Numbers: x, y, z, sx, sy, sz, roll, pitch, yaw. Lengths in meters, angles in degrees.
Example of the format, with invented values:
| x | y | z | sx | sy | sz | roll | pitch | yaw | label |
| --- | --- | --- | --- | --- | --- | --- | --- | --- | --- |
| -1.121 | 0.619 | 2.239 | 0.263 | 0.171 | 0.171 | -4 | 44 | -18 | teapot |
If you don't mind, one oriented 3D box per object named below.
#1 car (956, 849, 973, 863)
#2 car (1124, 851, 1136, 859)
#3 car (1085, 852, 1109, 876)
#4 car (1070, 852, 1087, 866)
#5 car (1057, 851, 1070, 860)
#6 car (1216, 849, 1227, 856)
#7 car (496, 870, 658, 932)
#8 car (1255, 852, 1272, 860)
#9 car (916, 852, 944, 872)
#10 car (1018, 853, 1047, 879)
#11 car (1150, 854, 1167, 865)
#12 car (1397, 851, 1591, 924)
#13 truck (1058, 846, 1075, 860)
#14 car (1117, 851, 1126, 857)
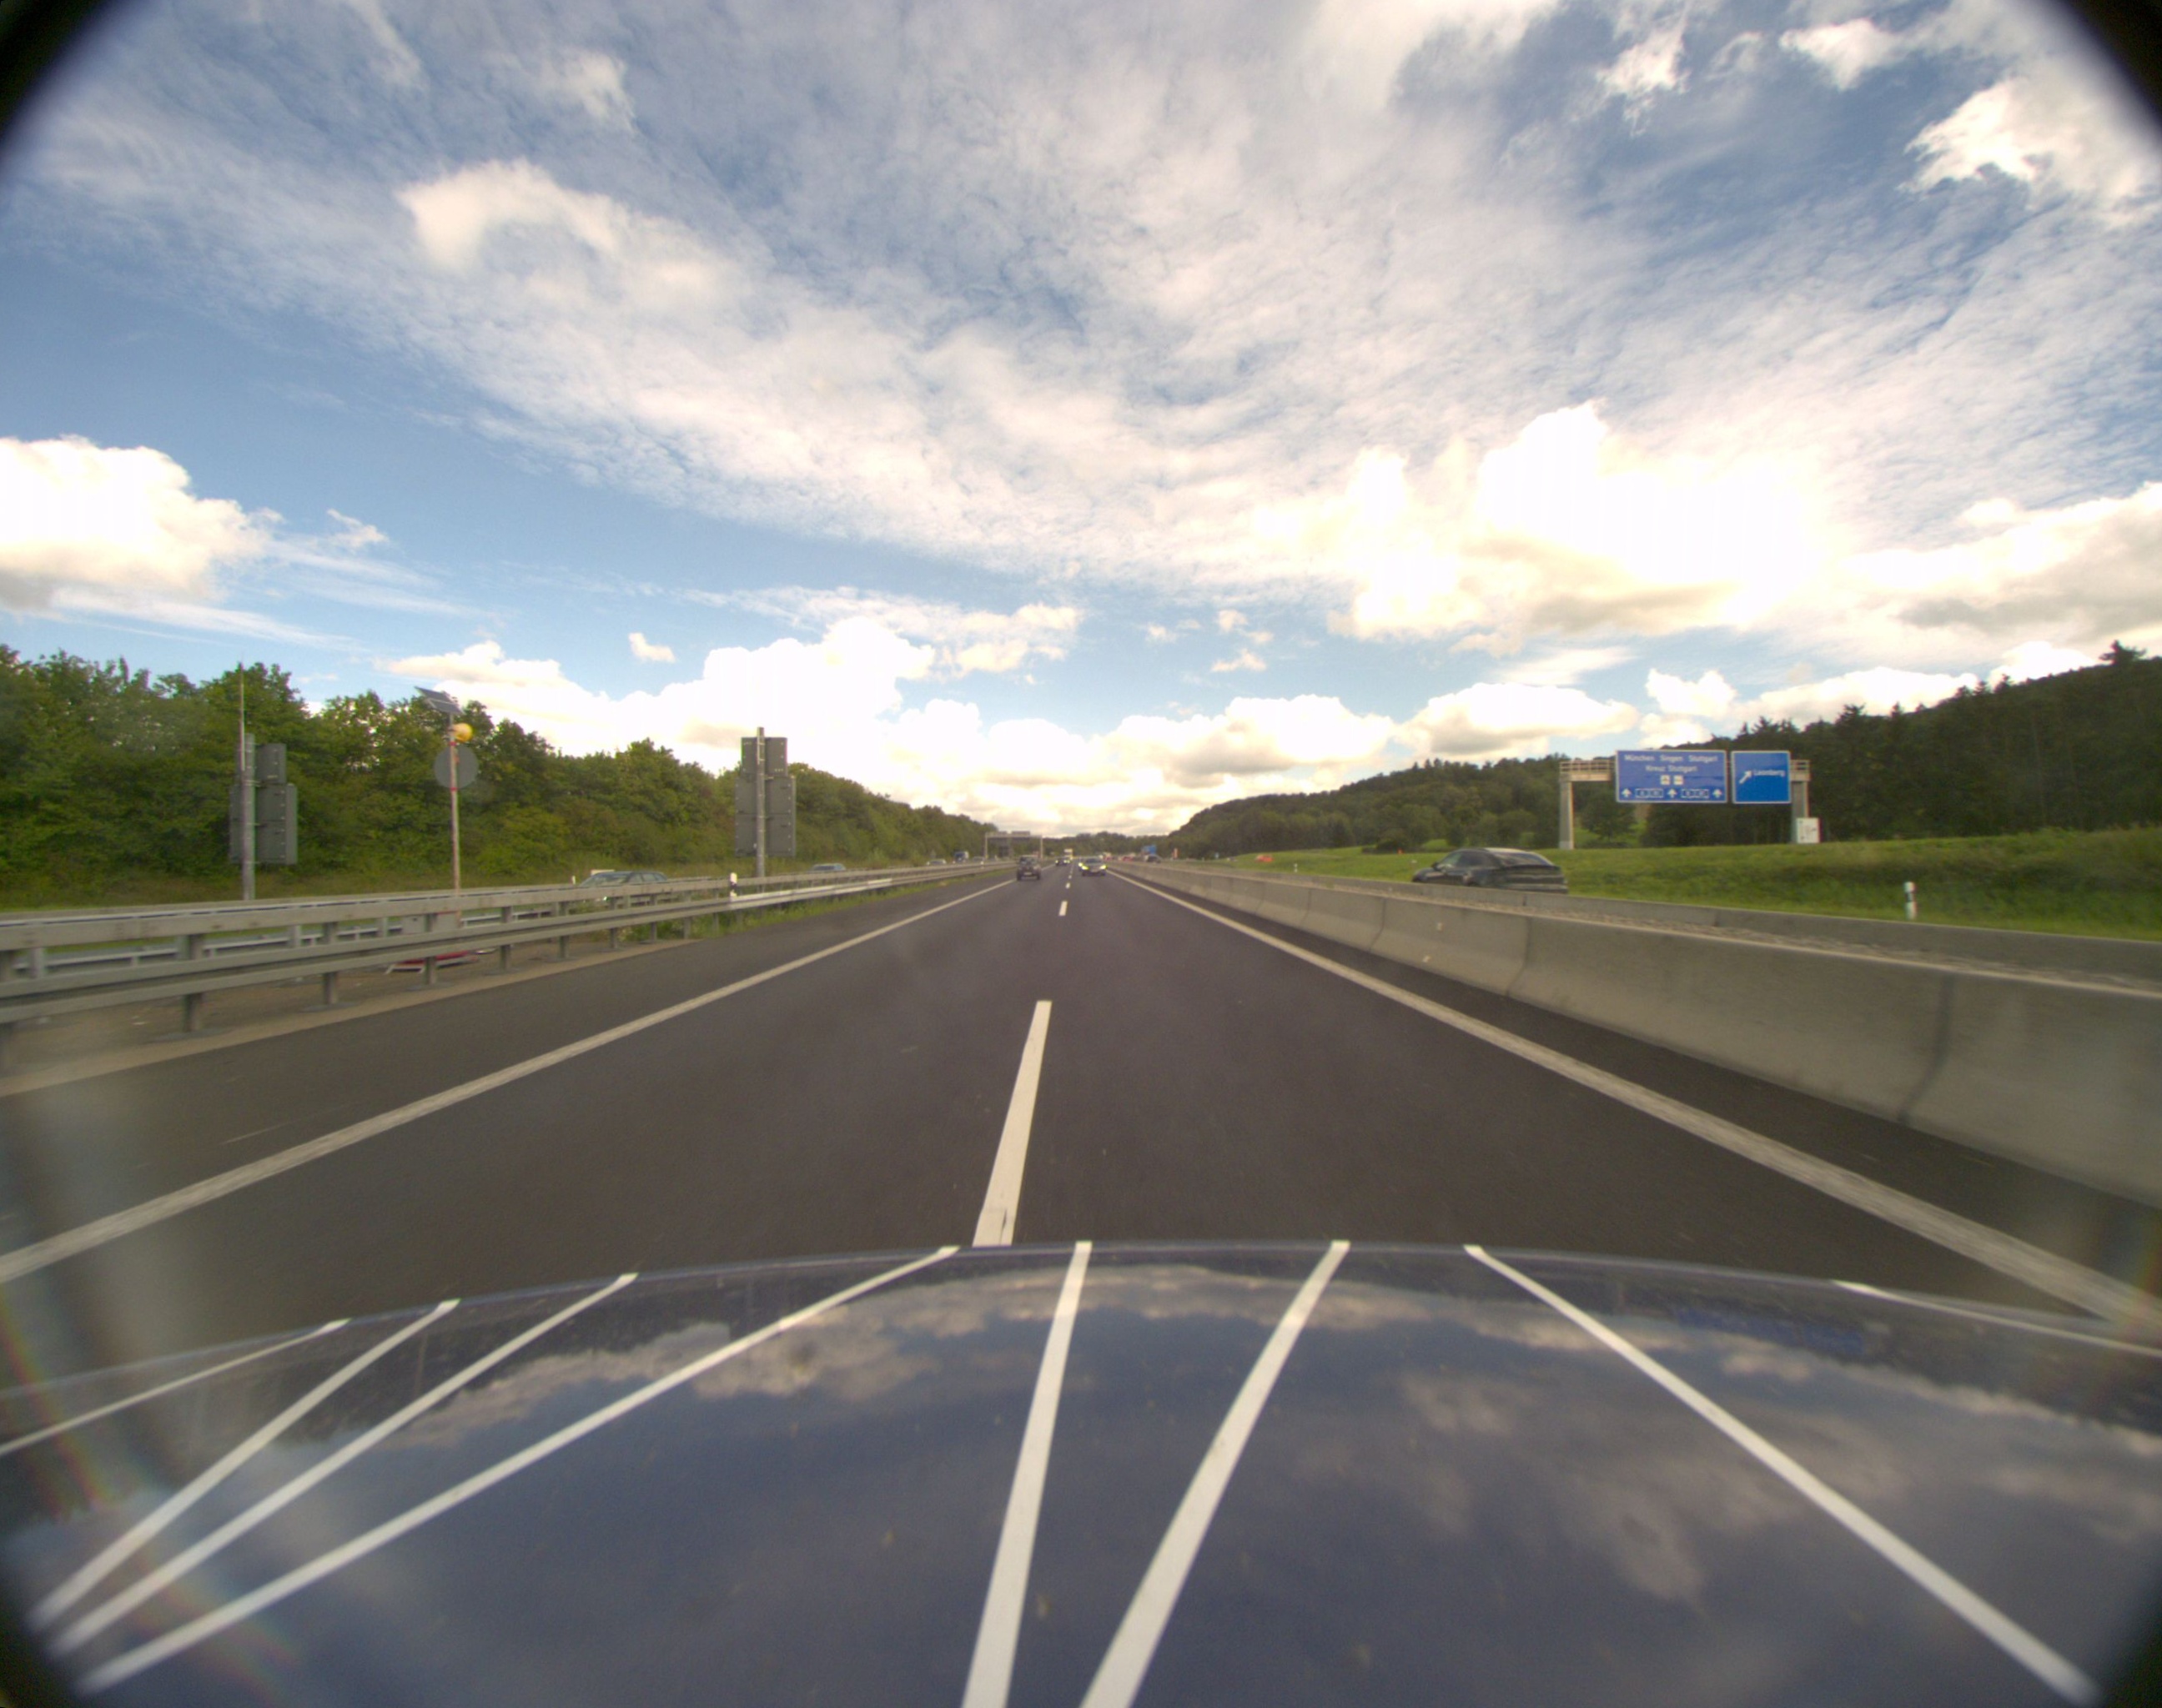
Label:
| x | y | z | sx | sy | sz | roll | pitch | yaw | label |
| --- | --- | --- | --- | --- | --- | --- | --- | --- | --- |
| -18.678 | 0.264 | 122.283 | 1.999 | 2.173 | 5.127 | -1 | 0 | -1 | car |
| 9.292 | 0.160 | 144.416 | 1.792 | 1.390 | 4.799 | 0 | 0 | 0 | car |
| 1.210 | 0.697 | 57.397 | 1.724 | 1.722 | 3.939 | -1 | 0 | 1 | car |
| -0.267 | 0.542 | 81.611 | 1.724 | 1.406 | 3.939 | -1 | 0 | 1 | car |
| -2.990 | 0.248 | 128.363 | 1.998 | 1.591 | 4.000 | 0 | 0 | 1 | car |
| 40.243 | -0.545 | 217.705 | 1.999 | 2.002 | 3.998 | 0 | 1 | -4 | car |
| -14.327 | 1.276 | 21.920 | 1.999 | 1.476 | 3.999 | -1 | 0 | -1 | car |
| 35.698 | 0.432 | 149.001 | 1.778 | 1.539 | 4.887 | 0 | 0 | -5 | car |
| -15.194 | 0.777 | 76.621 | 1.998 | 2.002 | 3.999 | 0 | 1 | 0 | car |
| -3.376 | 0.806 | 53.575 | 1.670 | 1.722 | 4.207 | -1 | 0 | 1 | car |
| 10.102 | 0.656 | 99.602 | 1.792 | 1.390 | 4.623 | 0 | 0 | 0 | car |
| 10.054 | 0.717 | 19.132 | 1.998 | 1.564 | 5.365 | 0 | 0 | 1 | car |
| -4.712 | -0.343 | 253.030 | 4.948 | 4.306 | 14.628 | 0 | 0 | 1 | truck |
| 9.892 | -0.108 | 185.785 | 1.792 | 1.390 | 4.724 | 0 | 0 | 0 | car |
